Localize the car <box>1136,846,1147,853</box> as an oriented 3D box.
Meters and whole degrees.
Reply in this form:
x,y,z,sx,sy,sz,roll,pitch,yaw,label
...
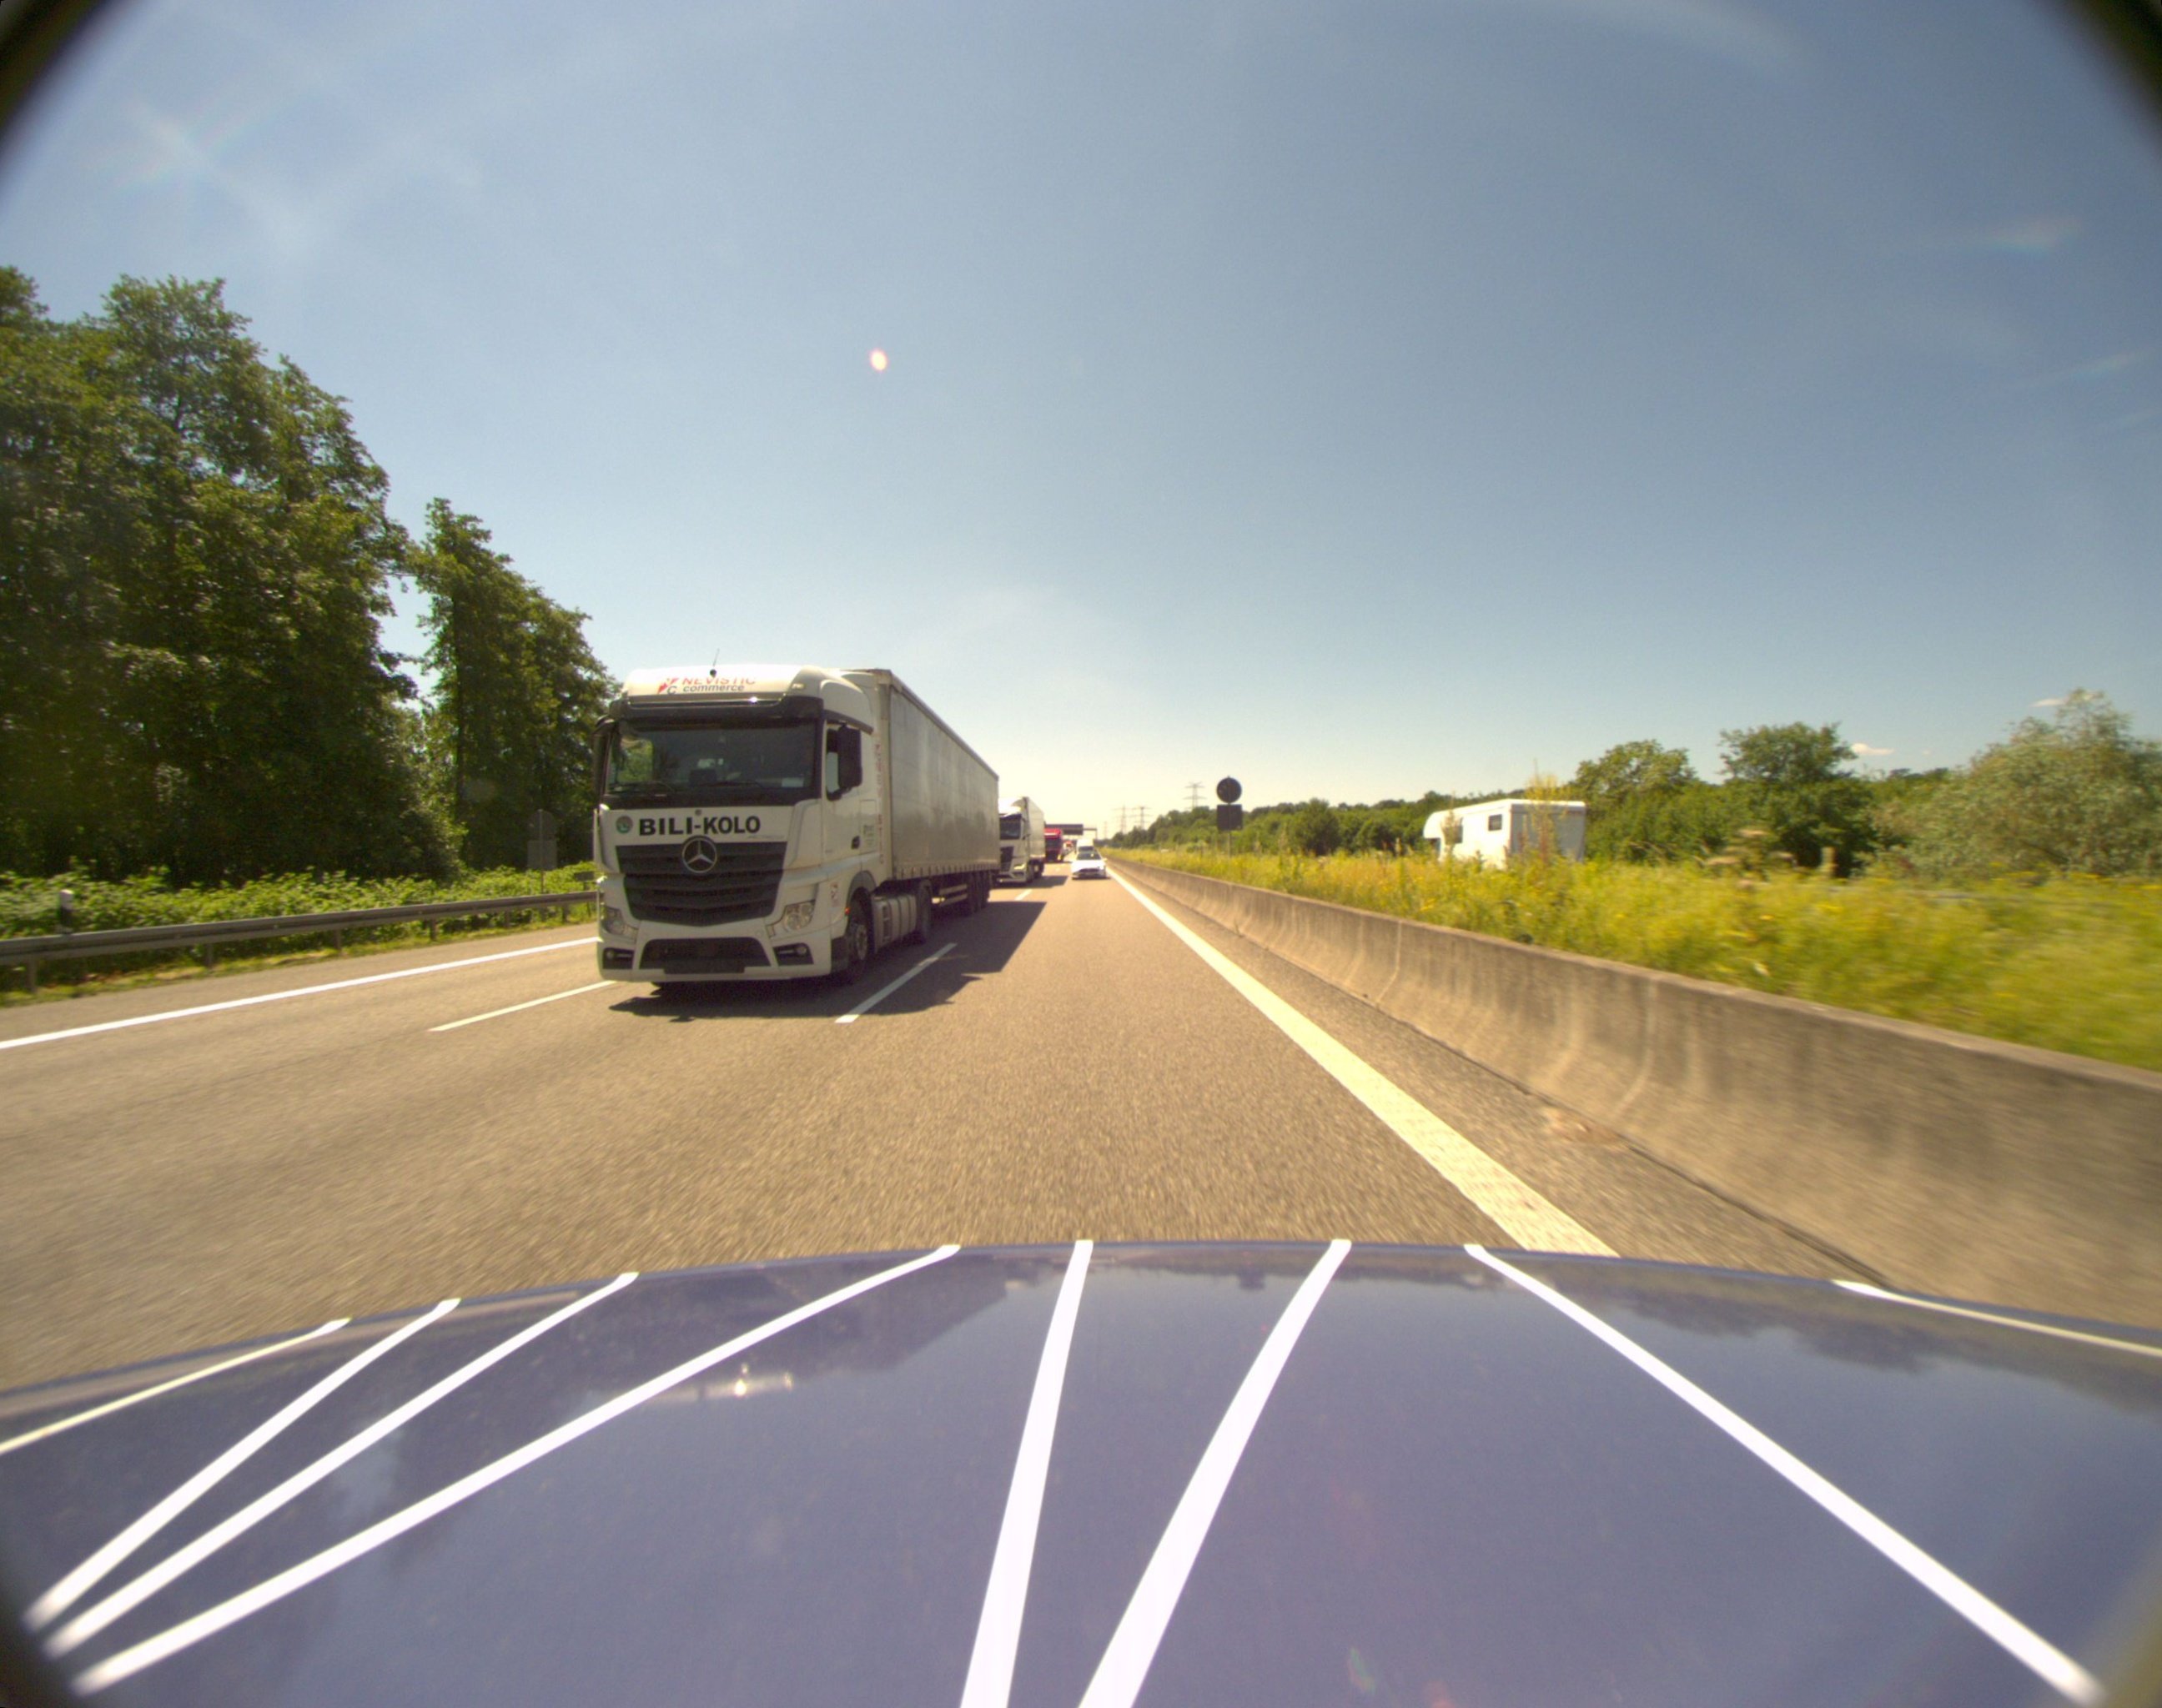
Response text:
x,y,z,sx,sy,sz,roll,pitch,yaw,label
13.965,-1.070,174.718,1.937,1.738,4.487,0,1,-3,car

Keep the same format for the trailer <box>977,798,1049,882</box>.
x,y,z,sx,sy,sz,roll,pitch,yaw,label
-3.578,-0.747,43.224,2.802,4.012,12.565,-1,1,0,trailer

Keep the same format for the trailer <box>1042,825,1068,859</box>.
x,y,z,sx,sy,sz,roll,pitch,yaw,label
-3.264,-1.523,98.483,2.945,3.995,16.195,-2,1,-1,trailer

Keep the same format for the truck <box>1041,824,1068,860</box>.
x,y,z,sx,sy,sz,roll,pitch,yaw,label
-3.103,-1.402,89.714,2.948,3.963,6.099,-2,1,-1,truck

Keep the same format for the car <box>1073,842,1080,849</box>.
x,y,z,sx,sy,sz,roll,pitch,yaw,label
-1.286,-2.244,204.863,1.904,1.662,3.999,-1,1,-1,car

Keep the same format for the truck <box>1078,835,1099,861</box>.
x,y,z,sx,sy,sz,roll,pitch,yaw,label
0.796,-0.645,86.849,2.192,2.842,5.502,-1,1,-1,truck

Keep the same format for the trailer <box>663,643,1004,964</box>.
x,y,z,sx,sy,sz,roll,pitch,yaw,label
-3.899,-0.786,17.122,2.714,4.045,14.742,-2,1,0,trailer

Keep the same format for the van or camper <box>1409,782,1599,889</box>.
x,y,z,sx,sy,sz,roll,pitch,yaw,label
14.246,-0.572,26.447,2.513,3.137,7.534,-2,0,2,van or camper

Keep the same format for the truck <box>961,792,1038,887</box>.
x,y,z,sx,sy,sz,roll,pitch,yaw,label
-3.624,-0.647,35.201,2.807,3.984,6.019,-1,1,0,truck

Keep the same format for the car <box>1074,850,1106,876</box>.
x,y,z,sx,sy,sz,roll,pitch,yaw,label
0.495,0.501,44.928,1.788,1.462,3.999,-1,1,-1,car

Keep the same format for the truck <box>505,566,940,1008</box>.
x,y,z,sx,sy,sz,roll,pitch,yaw,label
-3.953,-0.677,10.369,2.707,4.071,6.451,-2,1,0,truck

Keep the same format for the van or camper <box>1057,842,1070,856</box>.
x,y,z,sx,sy,sz,roll,pitch,yaw,label
-3.388,-0.967,148.424,2.412,2.483,6.430,-1,1,-1,van or camper
